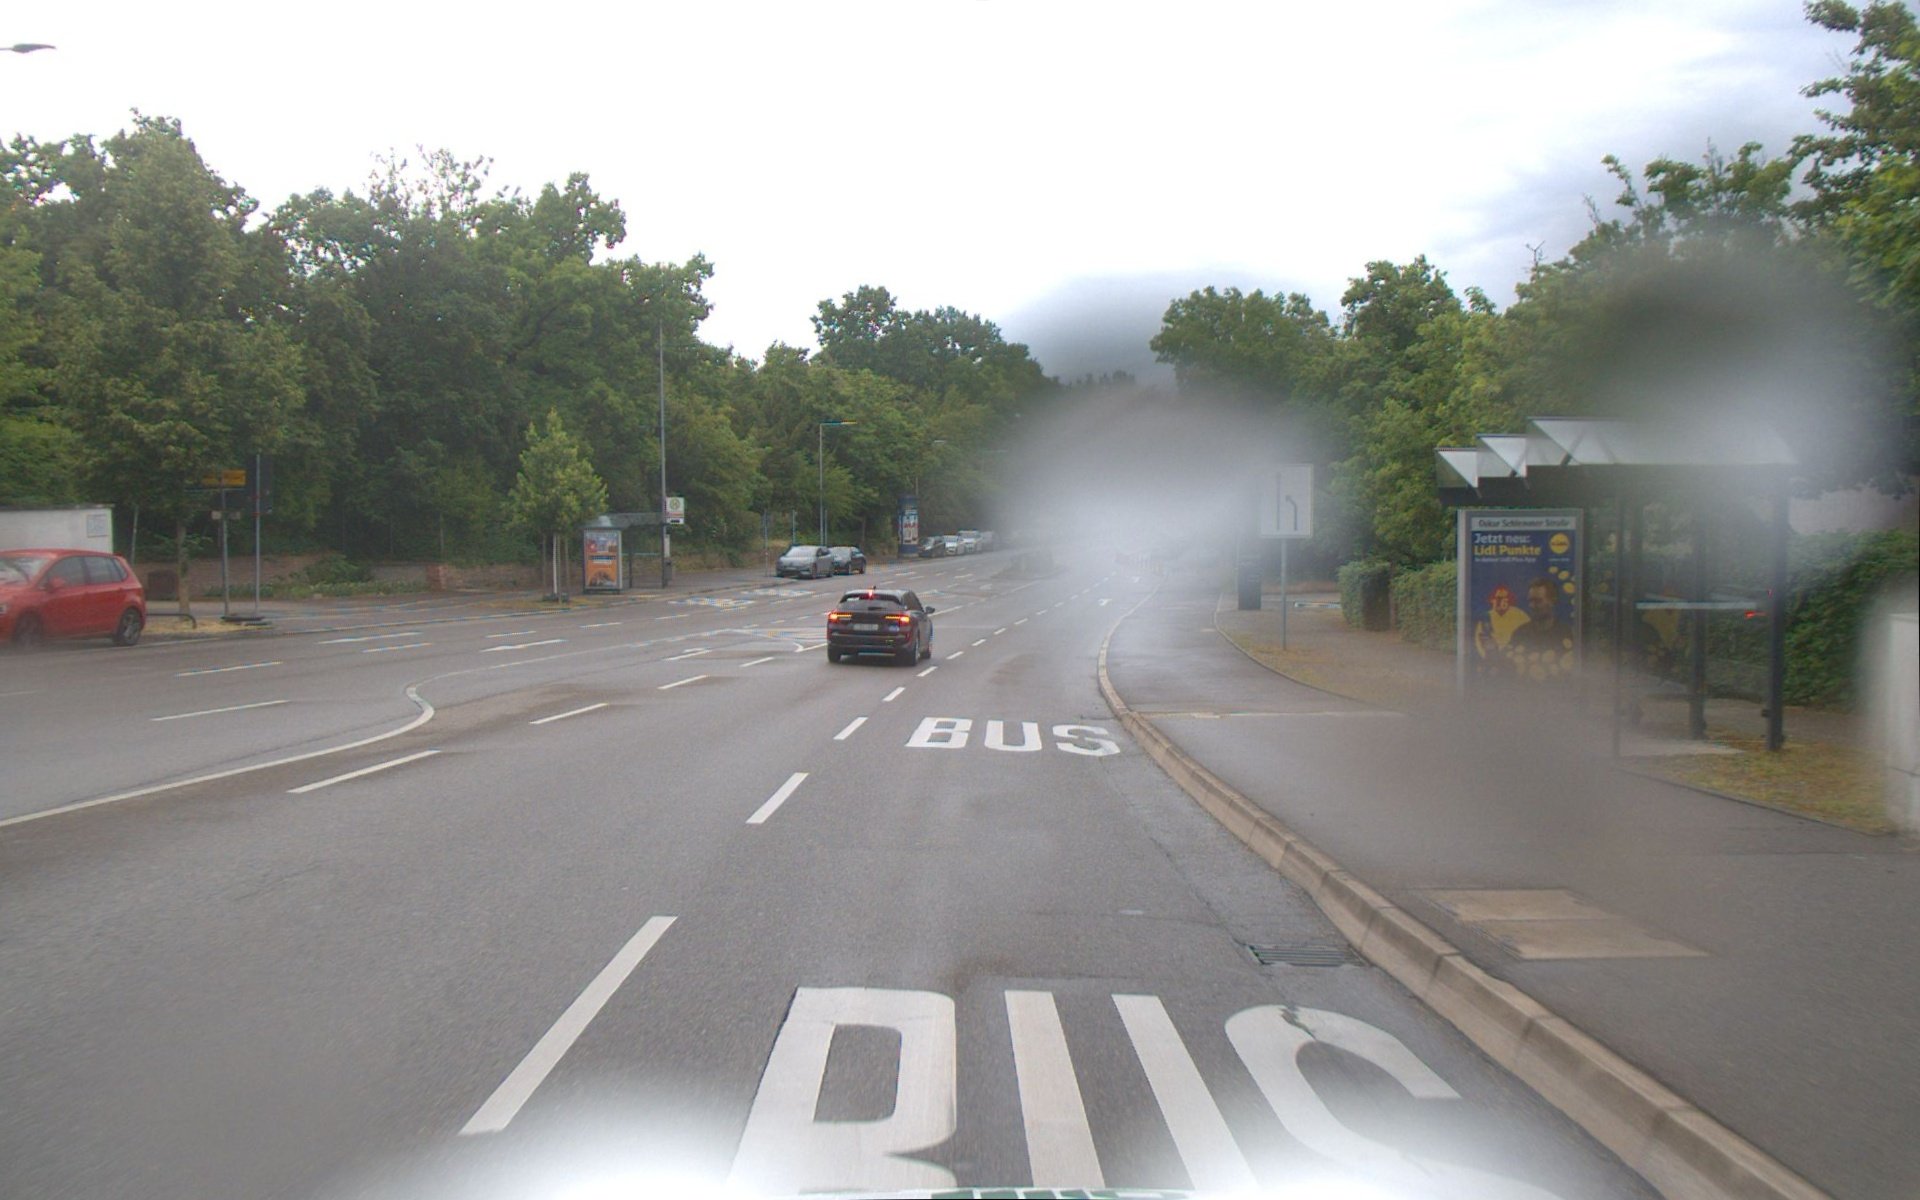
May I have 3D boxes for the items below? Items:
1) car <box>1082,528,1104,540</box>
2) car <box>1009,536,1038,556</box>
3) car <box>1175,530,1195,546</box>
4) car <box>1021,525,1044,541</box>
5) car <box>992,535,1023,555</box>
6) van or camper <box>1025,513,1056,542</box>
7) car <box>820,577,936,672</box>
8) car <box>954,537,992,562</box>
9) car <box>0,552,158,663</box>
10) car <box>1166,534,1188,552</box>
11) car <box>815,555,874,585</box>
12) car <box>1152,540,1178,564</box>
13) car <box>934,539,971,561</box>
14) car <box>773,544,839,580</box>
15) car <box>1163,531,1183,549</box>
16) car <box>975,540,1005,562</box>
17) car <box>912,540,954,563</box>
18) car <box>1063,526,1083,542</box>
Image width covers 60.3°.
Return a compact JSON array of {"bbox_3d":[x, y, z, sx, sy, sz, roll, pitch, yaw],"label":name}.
[{"bbox_3d":[15.051,-7.464,187.179,1.830,1.326,4.476,2,3,12],"label":"car"},{"bbox_3d":[5.820,-4.922,150.748,1.951,1.729,4.621,1,3,11],"label":"car"},{"bbox_3d":[22.203,-6.085,163.231,1.783,1.511,4.204,0,1,9],"label":"car"},{"bbox_3d":[6.843,-6.317,155.690,1.583,1.473,3.661,0,3,13],"label":"car"},{"bbox_3d":[4.196,-4.787,144.534,1.878,1.644,4.495,1,3,13],"label":"car"},{"bbox_3d":[7.947,-7.155,162.713,2.098,2.672,5.689,1,3,13],"label":"van or camper"},{"bbox_3d":[-1.571,0.438,32.997,1.842,1.490,4.003,3,4,3],"label":"car"},{"bbox_3d":[1.012,-3.934,127.255,1.951,1.795,4.966,2,3,12],"label":"car"},{"bbox_3d":[-14.617,0.069,26.106,1.630,1.614,4.219,0,1,4],"label":"car"},{"bbox_3d":[19.539,-5.113,148.650,1.624,1.490,3.905,4,4,12],"label":"car"},{"bbox_3d":[-6.074,-1.604,87.440,1.866,1.438,4.788,3,2,11],"label":"car"},{"bbox_3d":[15.075,-3.518,121.349,1.783,1.642,4.256,2,3,8],"label":"car"},{"bbox_3d":[-0.526,-3.690,120.808,1.682,1.485,4.714,1,3,12],"label":"car"},{"bbox_3d":[-7.492,-1.882,80.999,1.802,1.616,4.934,3,2,11],"label":"car"},{"bbox_3d":[18.281,-5.177,142.084,1.526,1.485,3.680,2,3,9],"label":"car"},{"bbox_3d":[2.459,-3.986,134.623,1.694,1.677,4.577,2,3,9],"label":"car"},{"bbox_3d":[-1.848,-3.427,115.603,1.712,1.470,4.592,2,3,14],"label":"car"},{"bbox_3d":[12.205,-7.141,178.562,1.568,1.536,3.981,2,4,14],"label":"car"}]
